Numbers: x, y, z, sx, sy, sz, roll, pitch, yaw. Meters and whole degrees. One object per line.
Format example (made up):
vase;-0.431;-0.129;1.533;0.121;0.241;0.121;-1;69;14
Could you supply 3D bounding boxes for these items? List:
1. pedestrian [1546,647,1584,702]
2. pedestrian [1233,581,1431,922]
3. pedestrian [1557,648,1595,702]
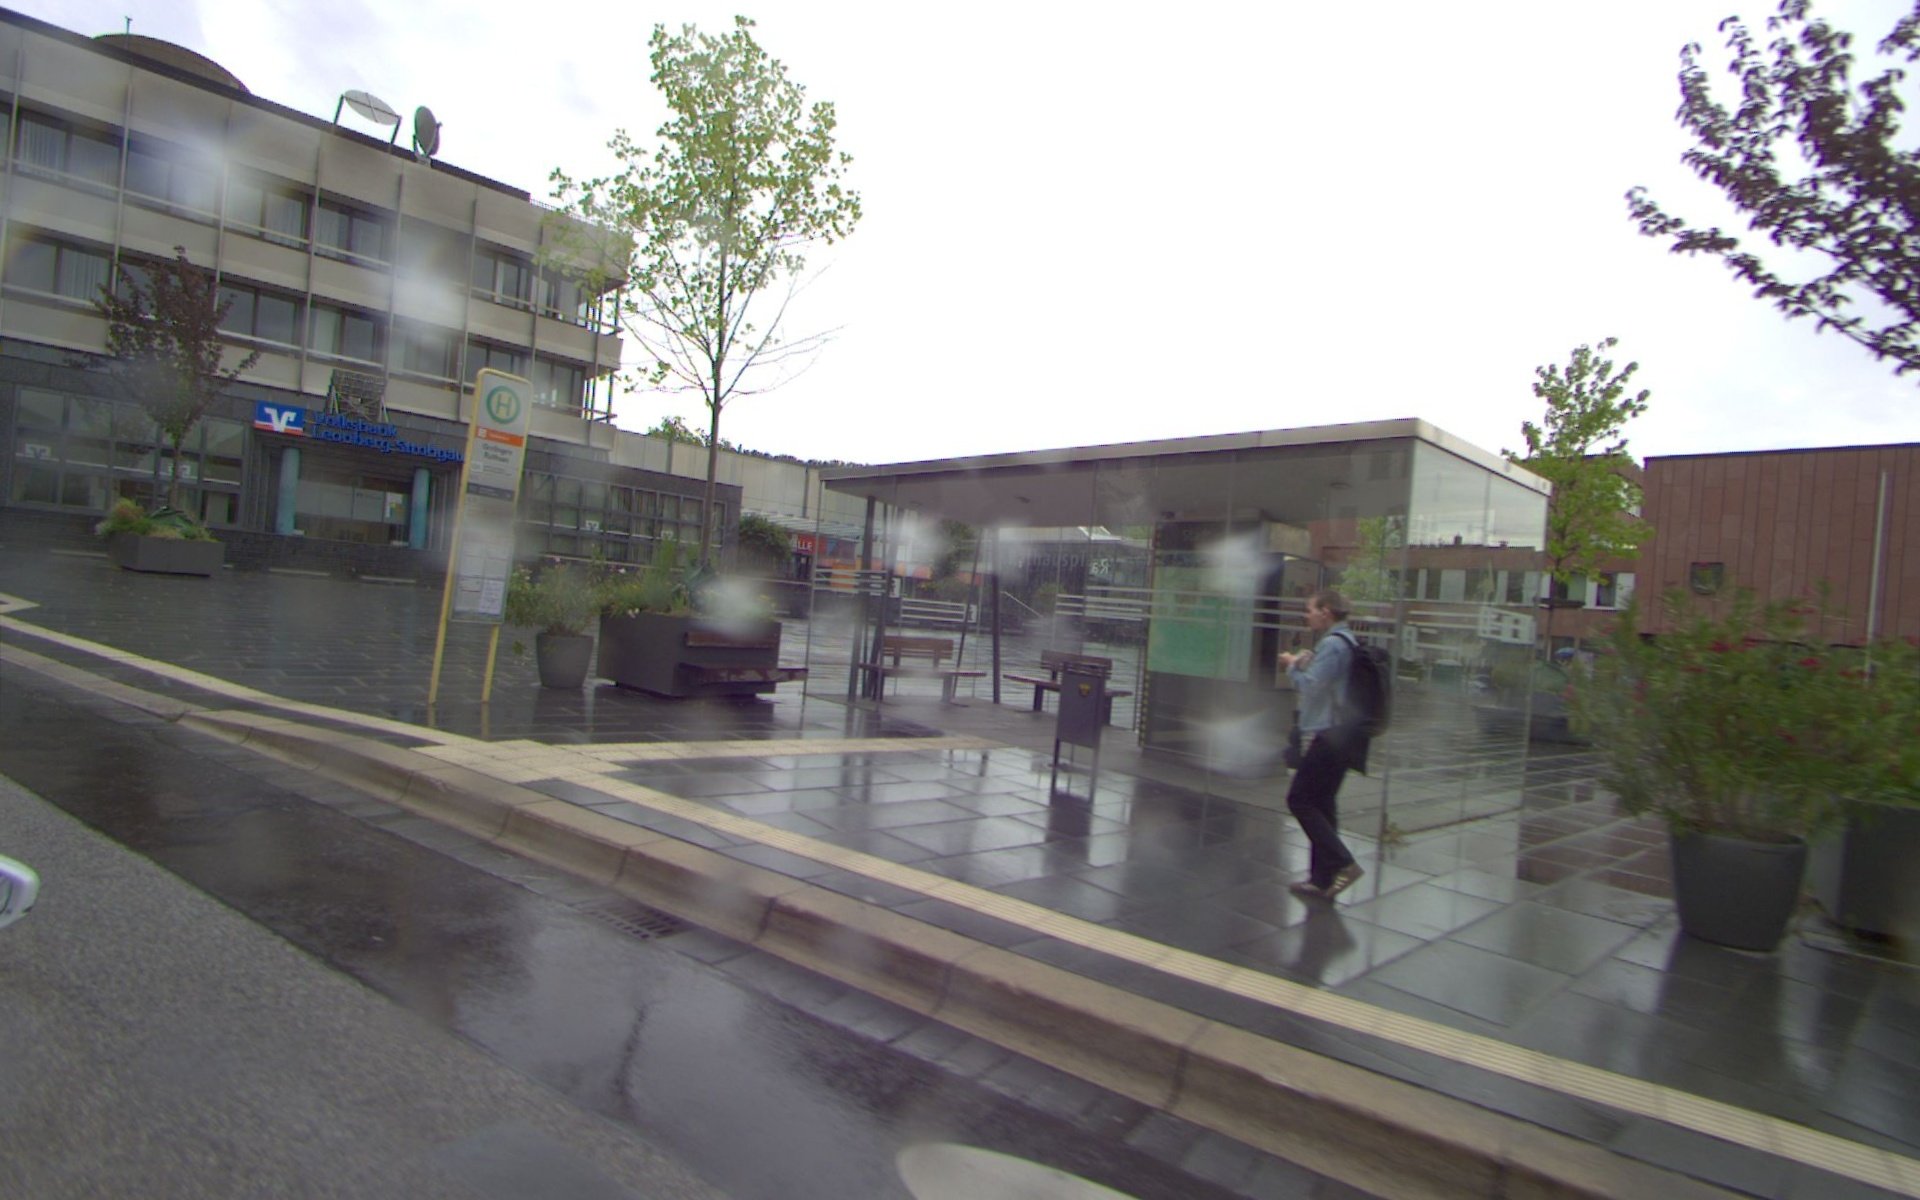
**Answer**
pedestrian;23.694;2.914;39.410;0.847;2.040;0.731;5;1;-8
pedestrian;2.010;0.763;5.419;0.683;1.638;0.727;6;1;37
pedestrian;24.478;2.981;39.959;0.847;2.040;0.731;5;1;-8
